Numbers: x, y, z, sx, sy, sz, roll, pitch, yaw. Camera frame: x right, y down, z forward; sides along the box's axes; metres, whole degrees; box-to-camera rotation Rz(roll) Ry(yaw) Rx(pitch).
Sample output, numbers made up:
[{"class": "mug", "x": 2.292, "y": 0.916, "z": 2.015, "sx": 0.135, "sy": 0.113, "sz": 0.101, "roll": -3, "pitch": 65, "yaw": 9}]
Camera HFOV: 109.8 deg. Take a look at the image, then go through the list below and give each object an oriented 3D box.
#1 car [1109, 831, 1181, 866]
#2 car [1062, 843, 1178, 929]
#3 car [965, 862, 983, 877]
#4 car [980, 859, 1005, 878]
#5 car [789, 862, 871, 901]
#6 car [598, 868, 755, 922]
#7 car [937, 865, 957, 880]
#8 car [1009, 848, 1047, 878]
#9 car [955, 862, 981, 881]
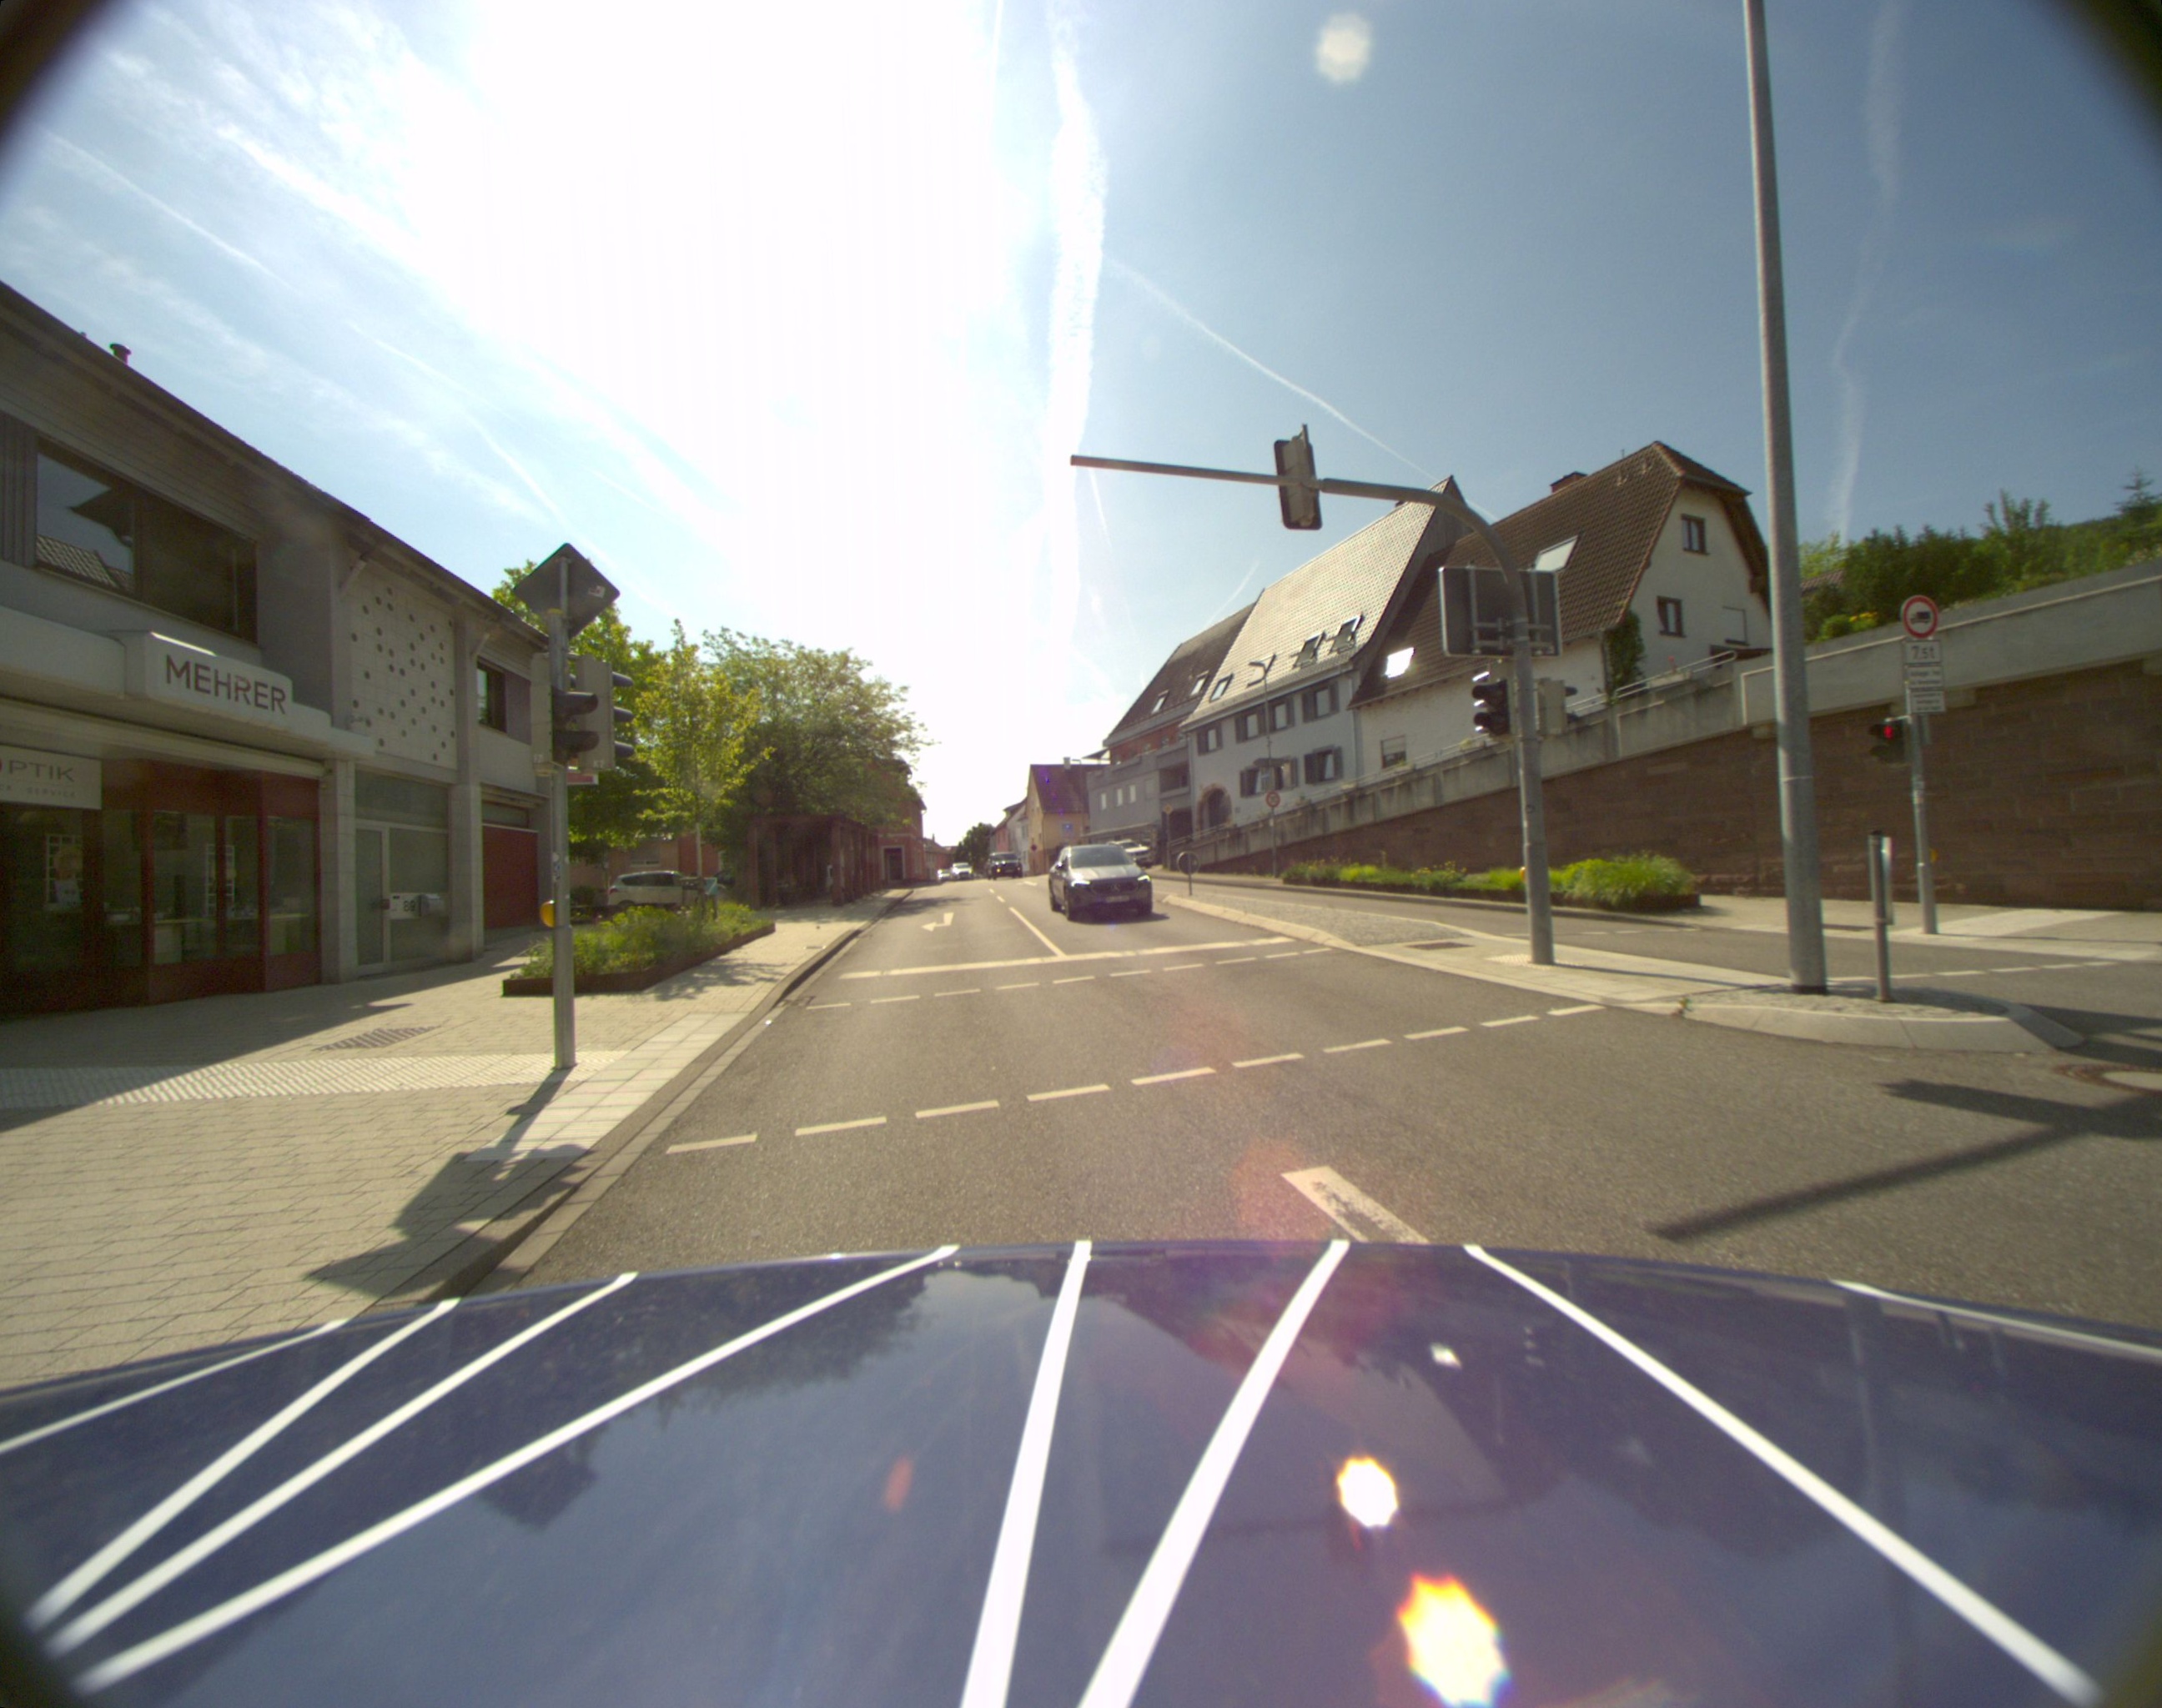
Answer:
[{"class": "car", "x": 3.662, "y": -0.283, "z": 44.636, "sx": 1.812, "sy": 1.788, "sz": 5.276, "roll": -4, "pitch": 0, "yaw": -23}, {"class": "car", "x": 0.727, "y": 0.627, "z": 17.199, "sx": 1.738, "sy": 1.564, "sz": 4.287, "roll": -5, "pitch": 1, "yaw": -8}, {"class": "car", "x": -12.400, "y": 1.810, "z": 87.998, "sx": 1.837, "sy": 1.533, "sz": 4.168, "roll": -3, "pitch": 0, "yaw": -6}, {"class": "car", "x": -7.922, "y": 1.307, "z": 67.729, "sx": 1.781, "sy": 1.533, "sz": 4.095, "roll": -4, "pitch": 0, "yaw": -11}, {"class": "car", "x": -15.011, "y": 1.631, "z": 45.603, "sx": 4.098, "sy": 1.743, "sz": 1.812, "roll": -7, "pitch": 1, "yaw": -3}, {"class": "car", "x": -14.152, "y": 1.395, "z": 26.812, "sx": 4.495, "sy": 1.536, "sz": 1.723, "roll": -3, "pitch": 0, "yaw": -10}, {"class": "car", "x": -15.404, "y": 2.141, "z": 87.624, "sx": 1.837, "sy": 1.533, "sz": 4.168, "roll": -3, "pitch": 0, "yaw": -6}, {"class": "car", "x": -3.285, "y": 0.520, "z": 46.465, "sx": 1.794, "sy": 1.642, "sz": 4.389, "roll": -3, "pitch": 0, "yaw": -10}, {"class": "car", "x": -10.032, "y": 1.546, "z": 67.292, "sx": 1.789, "sy": 1.417, "sz": 3.704, "roll": -5, "pitch": 0, "yaw": -15}]
